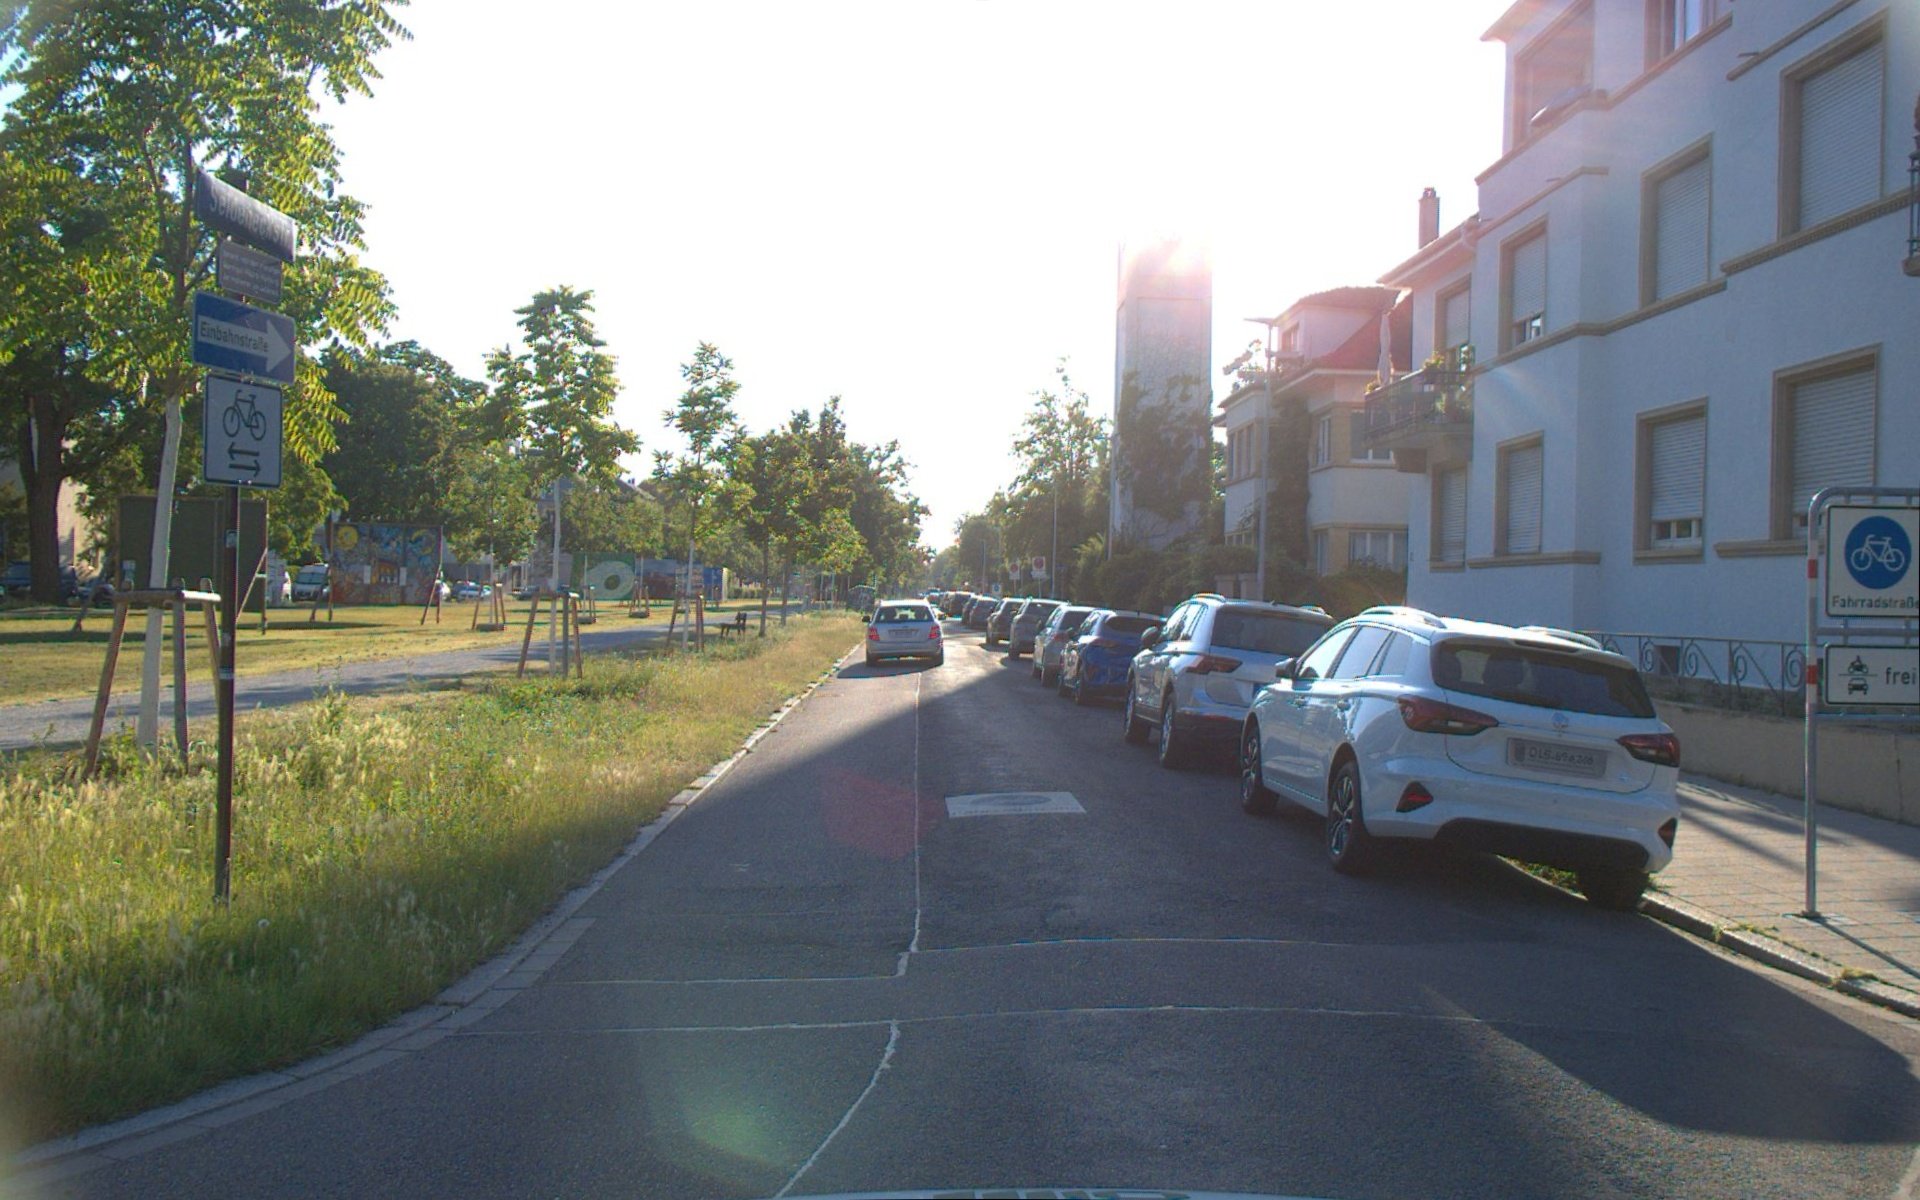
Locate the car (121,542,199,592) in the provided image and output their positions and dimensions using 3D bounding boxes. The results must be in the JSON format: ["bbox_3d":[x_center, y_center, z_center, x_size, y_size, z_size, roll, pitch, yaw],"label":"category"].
[{"bbox_3d":[-41.151,-1.673,85.175,1.953,2.451,4.362,-1,0,-1],"label":"car"}]

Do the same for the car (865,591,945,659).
[{"bbox_3d":[-1.272,0.529,37.749,1.725,1.445,3.998,0,0,-3],"label":"car"}]

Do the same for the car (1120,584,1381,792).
[{"bbox_3d":[2.773,0.760,16.680,1.652,1.679,4.098,6,0,-2],"label":"car"}]

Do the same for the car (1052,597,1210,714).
[{"bbox_3d":[2.568,0.798,25.684,1.727,1.444,3.998,7,0,-3],"label":"car"}]

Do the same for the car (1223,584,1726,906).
[{"bbox_3d":[3.026,0.737,10.765,1.723,1.633,4.357,1,1,-3],"label":"car"}]

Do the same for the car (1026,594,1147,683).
[{"bbox_3d":[2.307,0.676,31.077,1.726,1.444,3.998,3,0,-3],"label":"car"}]

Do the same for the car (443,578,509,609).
[{"bbox_3d":[-36.903,-0.489,126.346,3.095,2.185,6.892,-1,0,0],"label":"car"}]

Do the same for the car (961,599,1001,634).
[{"bbox_3d":[1.047,0.826,84.094,1.953,1.658,4.000,1,0,0],"label":"car"}]

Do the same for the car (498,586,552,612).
[{"bbox_3d":[-37.816,-0.090,144.089,3.095,2.185,6.109,-1,0,0],"label":"car"}]

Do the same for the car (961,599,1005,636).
[{"bbox_3d":[1.062,0.804,77.844,1.953,1.658,4.000,1,0,0],"label":"car"}]

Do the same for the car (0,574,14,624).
[{"bbox_3d":[-40.691,-0.031,67.216,1.953,2.049,4.483,-1,0,-1],"label":"car"}]

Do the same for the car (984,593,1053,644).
[{"bbox_3d":[1.796,0.541,51.926,1.953,1.489,4.000,1,0,0],"label":"car"}]

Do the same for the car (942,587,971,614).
[{"bbox_3d":[-0.257,0.028,112.372,1.940,1.712,4.000,1,0,0],"label":"car"}]

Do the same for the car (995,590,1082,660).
[{"bbox_3d":[1.892,0.584,41.101,1.726,1.548,3.998,3,0,-3],"label":"car"}]

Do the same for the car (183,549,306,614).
[{"bbox_3d":[-35.344,-0.880,82.023,3.095,3.045,6.892,-1,0,0],"label":"car"}]
